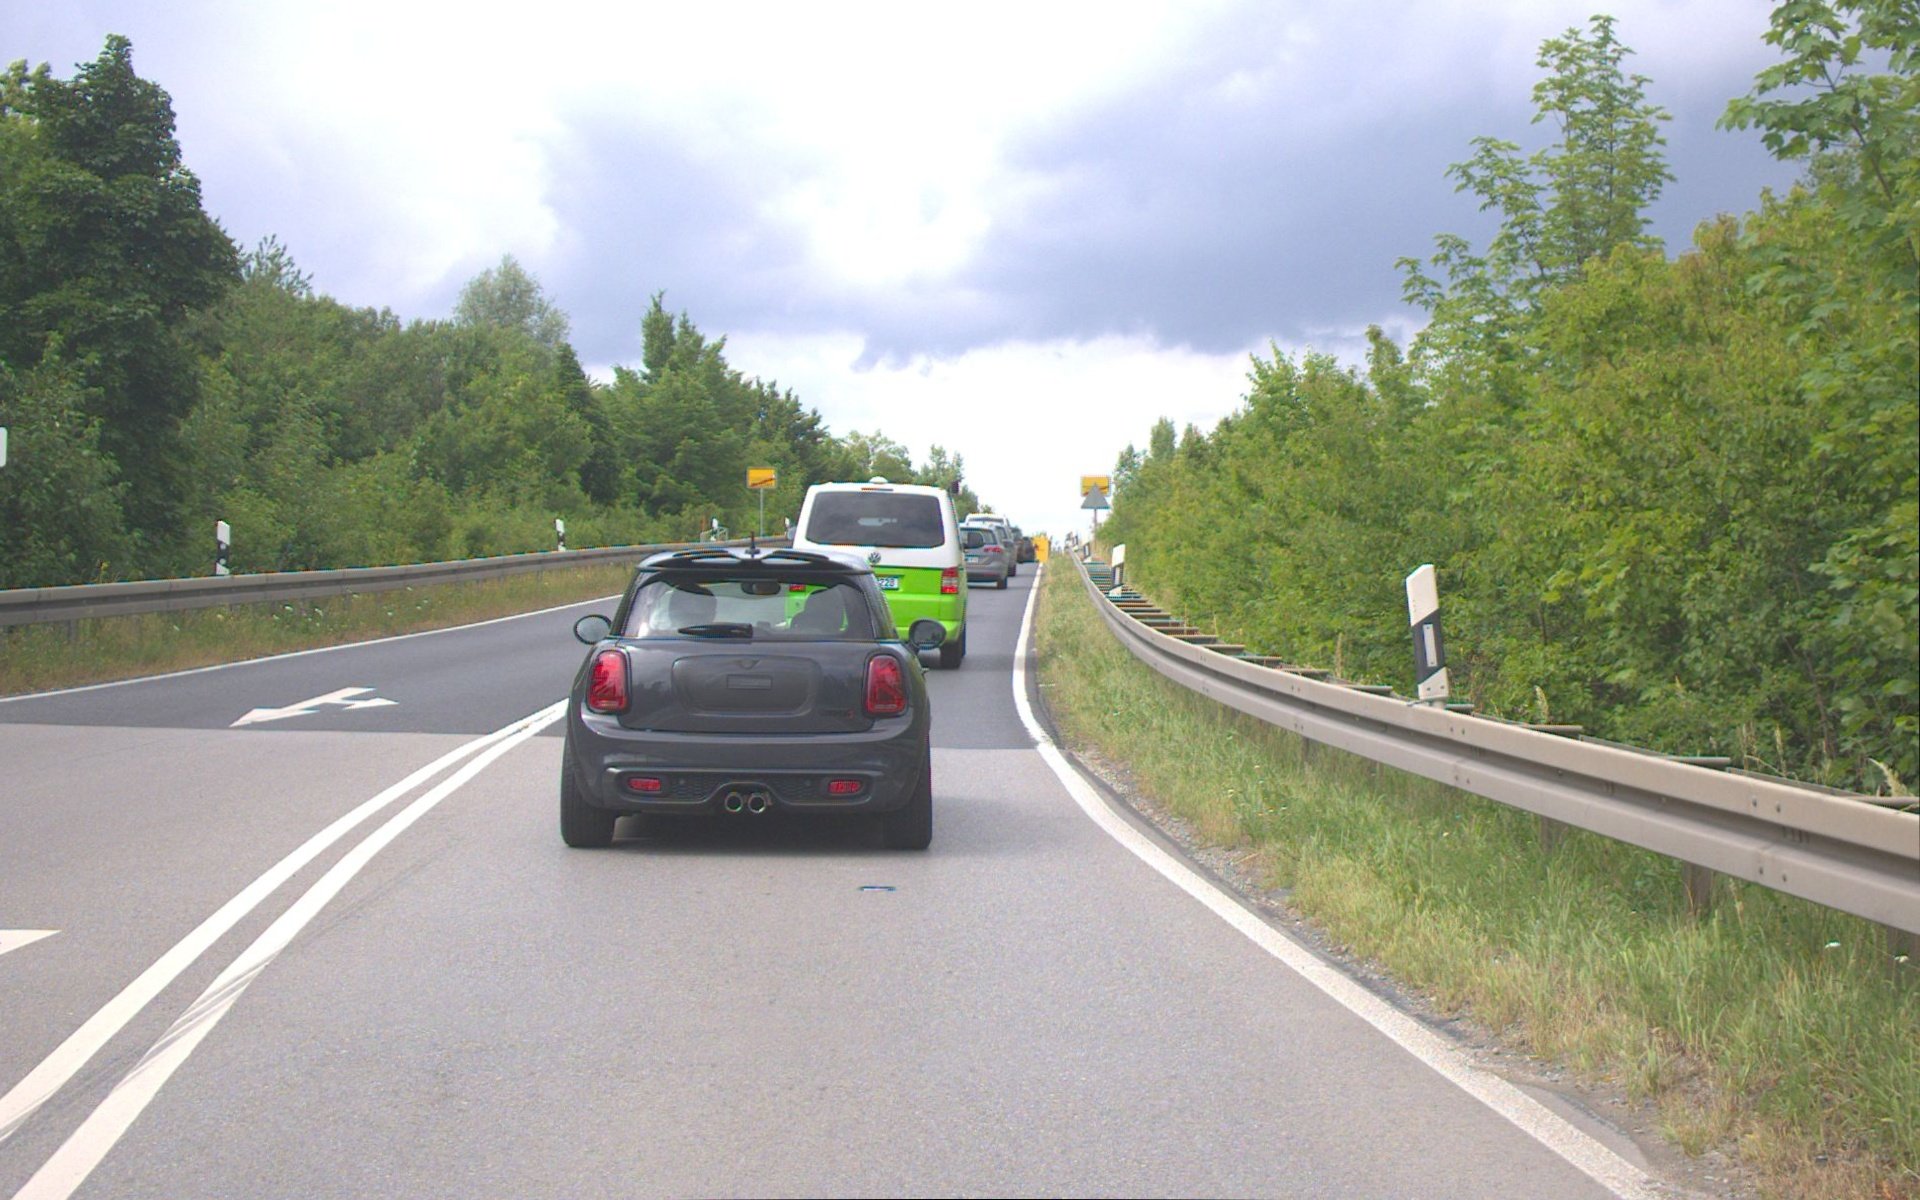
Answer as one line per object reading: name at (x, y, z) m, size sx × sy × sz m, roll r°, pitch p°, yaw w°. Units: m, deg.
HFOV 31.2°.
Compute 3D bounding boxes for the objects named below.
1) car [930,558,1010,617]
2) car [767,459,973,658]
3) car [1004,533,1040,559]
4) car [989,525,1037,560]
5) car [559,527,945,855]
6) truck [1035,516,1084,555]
car at (0.250, -0.292, 76.694) m, size 1.694 × 1.218 × 4.000 m, roll 0°, pitch 2°, yaw 1°
car at (-0.925, -0.488, 37.598) m, size 2.022 × 2.006 × 4.000 m, roll 2°, pitch 2°, yaw 1°
car at (3.239, -2.810, 179.170) m, size 1.694 × 1.315 × 4.000 m, roll 0°, pitch 2°, yaw 3°
car at (2.083, -2.265, 134.557) m, size 1.694 × 1.315 × 4.000 m, roll 0°, pitch 2°, yaw 3°
car at (-1.077, 0.372, 17.534) m, size 1.732 × 1.451 × 4.001 m, roll 0°, pitch 2°, yaw -4°
truck at (6.421, -4.152, 220.299) m, size 2.910 × 2.364 × 10.451 m, roll -1°, pitch 1°, yaw 3°
